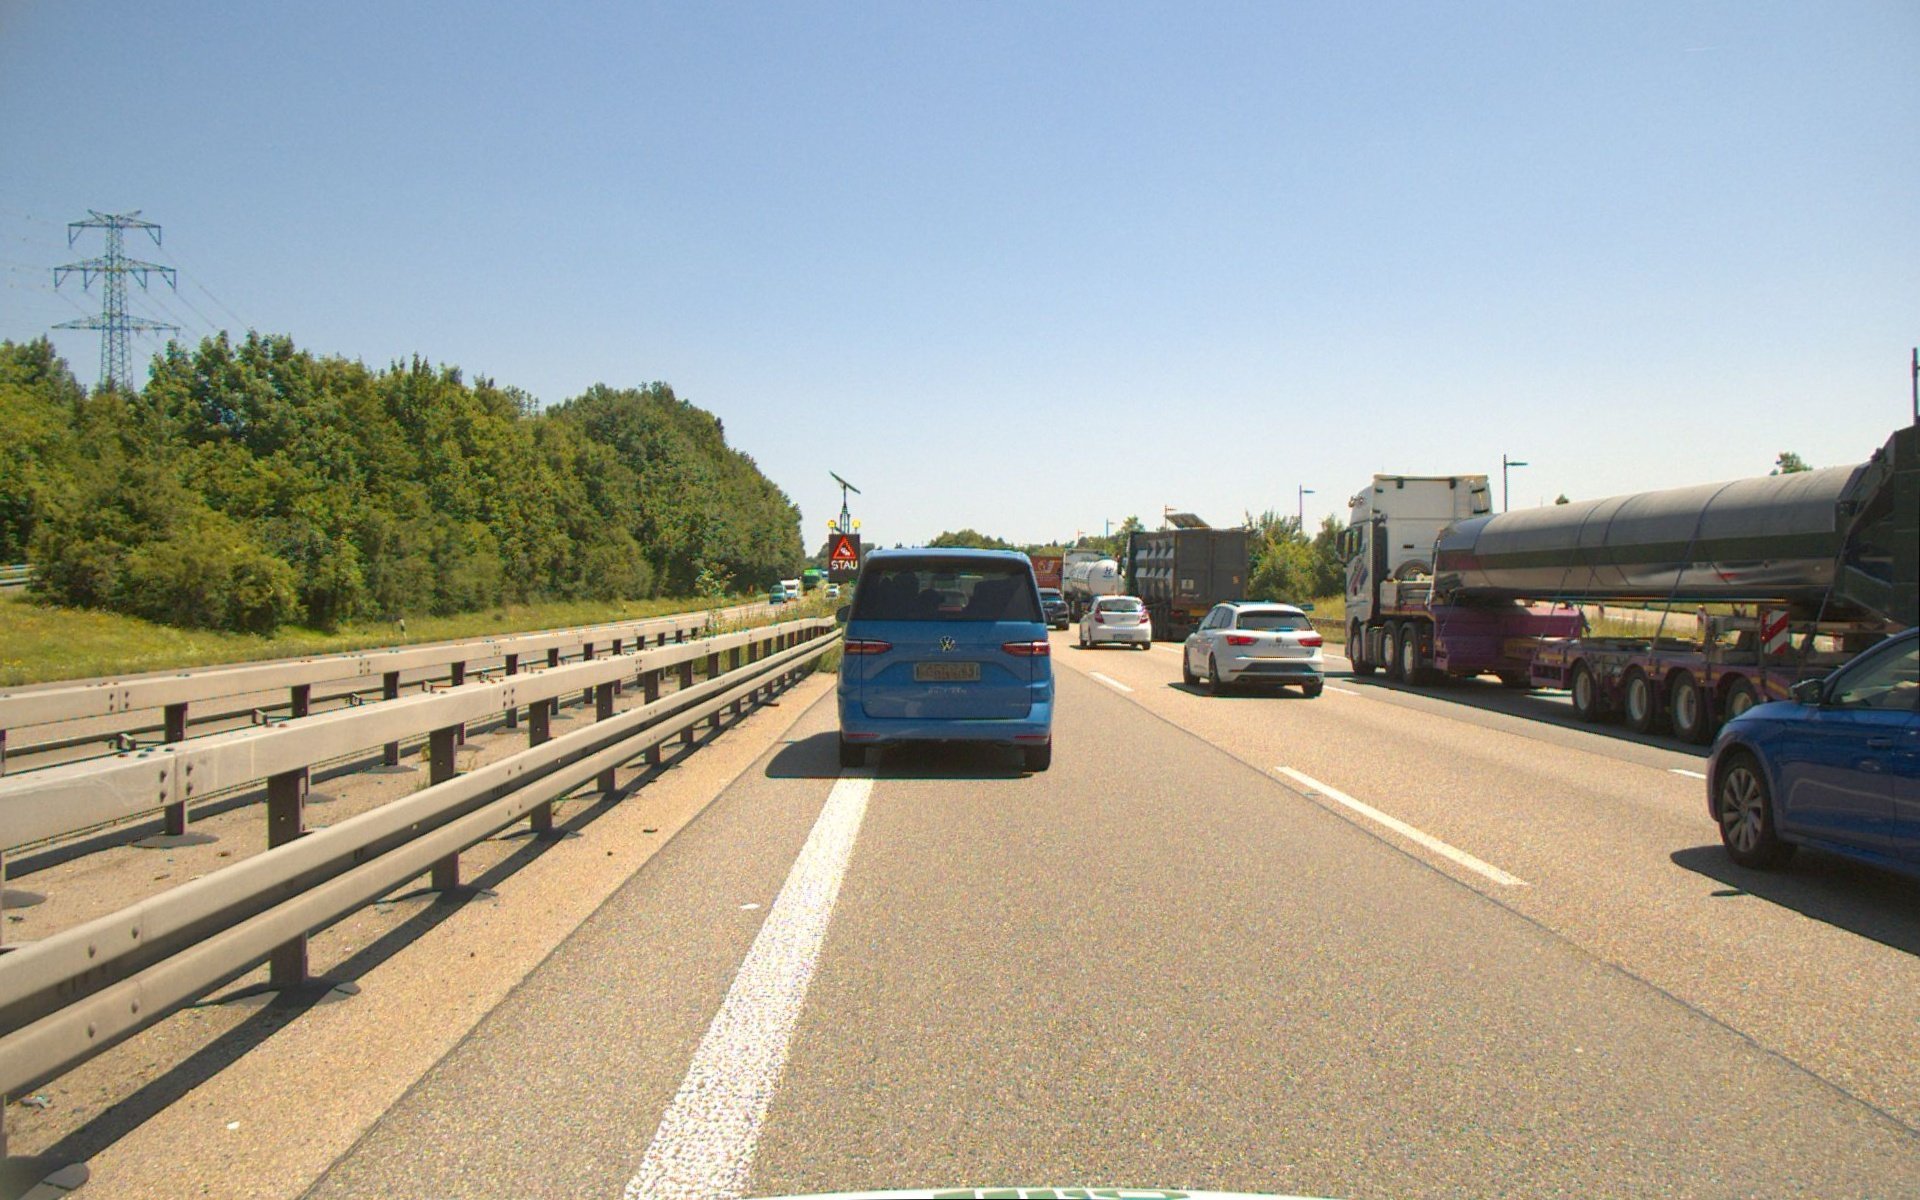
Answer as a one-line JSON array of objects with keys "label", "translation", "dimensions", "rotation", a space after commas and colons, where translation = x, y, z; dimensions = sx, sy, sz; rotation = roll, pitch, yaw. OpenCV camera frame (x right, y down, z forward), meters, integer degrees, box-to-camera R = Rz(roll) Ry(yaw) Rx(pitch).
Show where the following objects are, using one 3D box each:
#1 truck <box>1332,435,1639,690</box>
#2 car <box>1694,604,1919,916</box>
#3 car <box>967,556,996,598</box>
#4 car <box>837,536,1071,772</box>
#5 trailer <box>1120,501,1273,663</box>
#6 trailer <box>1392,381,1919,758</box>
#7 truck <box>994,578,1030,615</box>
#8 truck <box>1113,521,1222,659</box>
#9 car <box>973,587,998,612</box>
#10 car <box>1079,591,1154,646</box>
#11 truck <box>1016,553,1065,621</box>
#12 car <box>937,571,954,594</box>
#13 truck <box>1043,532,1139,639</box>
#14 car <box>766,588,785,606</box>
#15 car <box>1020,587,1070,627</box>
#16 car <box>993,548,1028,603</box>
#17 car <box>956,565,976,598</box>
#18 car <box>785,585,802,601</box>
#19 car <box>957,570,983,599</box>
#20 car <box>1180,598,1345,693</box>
[{"label": "truck", "translation": [9.592, -0.583, 31.292], "dimensions": [3.551, 4.166, 7.525], "rotation": [1, -1, 2]}, {"label": "car", "translation": [5.348, 0.771, 7.926], "dimensions": [1.671, 1.466, 4.427], "rotation": [1, -1, 0]}, {"label": "car", "translation": [2.846, -2.992, 220.654], "dimensions": [3.154, 5.349, 8.138], "rotation": [1, -1, -4]}, {"label": "car", "translation": [-0.030, 0.459, 15.437], "dimensions": [1.862, 1.870, 4.000], "rotation": [1, -1, 1]}, {"label": "trailer", "translation": [8.367, -0.514, 60.631], "dimensions": [3.572, 5.226, 13.073], "rotation": [1, -1, 0]}, {"label": "trailer", "translation": [9.361, -0.132, 21.641], "dimensions": [3.571, 3.133, 15.773], "rotation": [1, -1, 1]}, {"label": "truck", "translation": [2.756, -0.148, 88.449], "dimensions": [1.690, 1.890, 3.999], "rotation": [1, -1, -1]}, {"label": "truck", "translation": [8.326, -0.373, 67.094], "dimensions": [3.584, 5.270, 5.708], "rotation": [1, -1, 0]}, {"label": "car", "translation": [2.180, -0.036, 140.523], "dimensions": [1.953, 2.049, 3.999], "rotation": [1, -1, -1]}, {"label": "car", "translation": [4.441, 0.524, 47.445], "dimensions": [1.802, 1.480, 4.000], "rotation": [1, -1, 1]}, {"label": "truck", "translation": [6.195, -0.941, 129.178], "dimensions": [3.006, 5.006, 10.687], "rotation": [1, -1, -1]}, {"label": "car", "translation": [-2.129, -2.562, 243.783], "dimensions": [2.435, 3.260, 7.370], "rotation": [1, -1, -1]}, {"label": "truck", "translation": [7.022, -0.658, 91.601], "dimensions": [3.548, 5.304, 15.683], "rotation": [1, -1, -2]}, {"label": "car", "translation": [-21.165, -0.357, 189.449], "dimensions": [1.760, 1.919, 3.999], "rotation": [1, -1, -1]}, {"label": "car", "translation": [3.487, 0.302, 68.488], "dimensions": [1.745, 1.551, 3.999], "rotation": [1, -1, -1]}, {"label": "car", "translation": [5.183, -2.438, 169.637], "dimensions": [3.153, 5.349, 8.142], "rotation": [1, -1, -1]}, {"label": "car", "translation": [0.927, -2.751, 250.058], "dimensions": [2.661, 4.795, 11.557], "rotation": [1, -1, -1]}, {"label": "car", "translation": [-20.878, -0.920, 207.236], "dimensions": [1.760, 1.919, 3.999], "rotation": [1, -1, -1]}, {"label": "car", "translation": [1.004, -1.533, 167.383], "dimensions": [2.499, 2.765, 5.620], "rotation": [1, -1, -1]}, {"label": "car", "translation": [4.814, 0.675, 26.827], "dimensions": [1.830, 1.385, 3.999], "rotation": [1, 0, -2]}]
